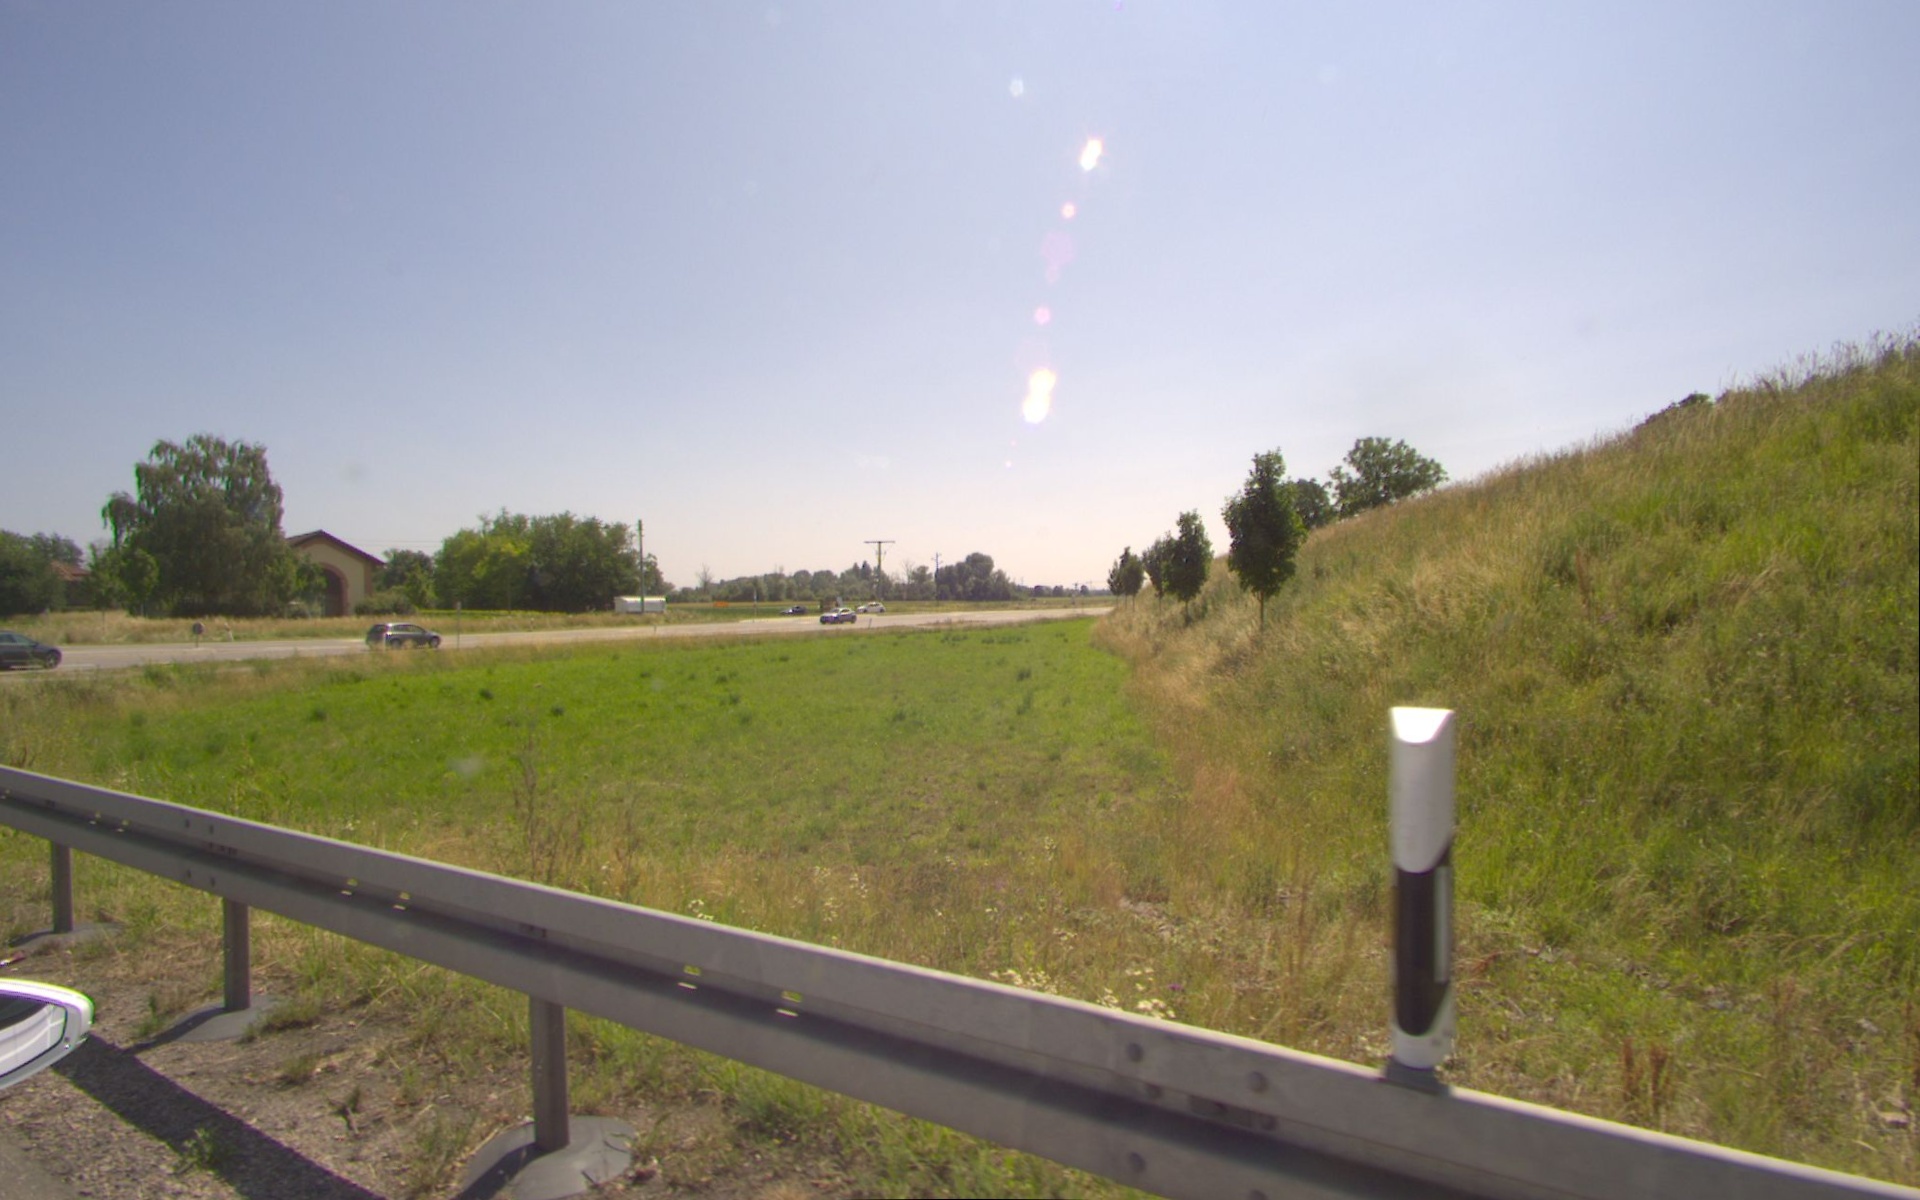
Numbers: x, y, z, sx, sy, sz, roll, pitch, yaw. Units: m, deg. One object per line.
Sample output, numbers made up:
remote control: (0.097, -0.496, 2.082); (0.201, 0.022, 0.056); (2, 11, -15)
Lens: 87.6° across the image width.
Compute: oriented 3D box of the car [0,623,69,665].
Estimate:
car: (-35.036, 1.601, 36.418); (1.771, 1.495, 4.414); (0, -1, -7)

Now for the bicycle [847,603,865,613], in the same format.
bicycle: (-15.620, 1.262, 149.973); (2.572, 1.389, 0.900); (-1, -2, 22)

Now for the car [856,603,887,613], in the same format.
car: (-11.987, 1.076, 135.665); (3.973, 1.350, 1.690); (1, 1, -24)

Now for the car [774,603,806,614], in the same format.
car: (-21.271, 1.049, 125.405); (1.659, 1.406, 3.809); (2, 1, 40)

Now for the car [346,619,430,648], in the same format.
car: (-31.652, 1.863, 55.533); (1.773, 1.541, 3.877); (-1, -1, 18)

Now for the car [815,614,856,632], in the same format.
car: (-12.240, 2.239, 98.827); (1.842, 1.565, 4.532); (1, 1, 28)

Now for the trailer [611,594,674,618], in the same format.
trailer: (-35.249, 0.630, 111.410); (2.651, 2.489, 6.340); (1, 1, 36)
